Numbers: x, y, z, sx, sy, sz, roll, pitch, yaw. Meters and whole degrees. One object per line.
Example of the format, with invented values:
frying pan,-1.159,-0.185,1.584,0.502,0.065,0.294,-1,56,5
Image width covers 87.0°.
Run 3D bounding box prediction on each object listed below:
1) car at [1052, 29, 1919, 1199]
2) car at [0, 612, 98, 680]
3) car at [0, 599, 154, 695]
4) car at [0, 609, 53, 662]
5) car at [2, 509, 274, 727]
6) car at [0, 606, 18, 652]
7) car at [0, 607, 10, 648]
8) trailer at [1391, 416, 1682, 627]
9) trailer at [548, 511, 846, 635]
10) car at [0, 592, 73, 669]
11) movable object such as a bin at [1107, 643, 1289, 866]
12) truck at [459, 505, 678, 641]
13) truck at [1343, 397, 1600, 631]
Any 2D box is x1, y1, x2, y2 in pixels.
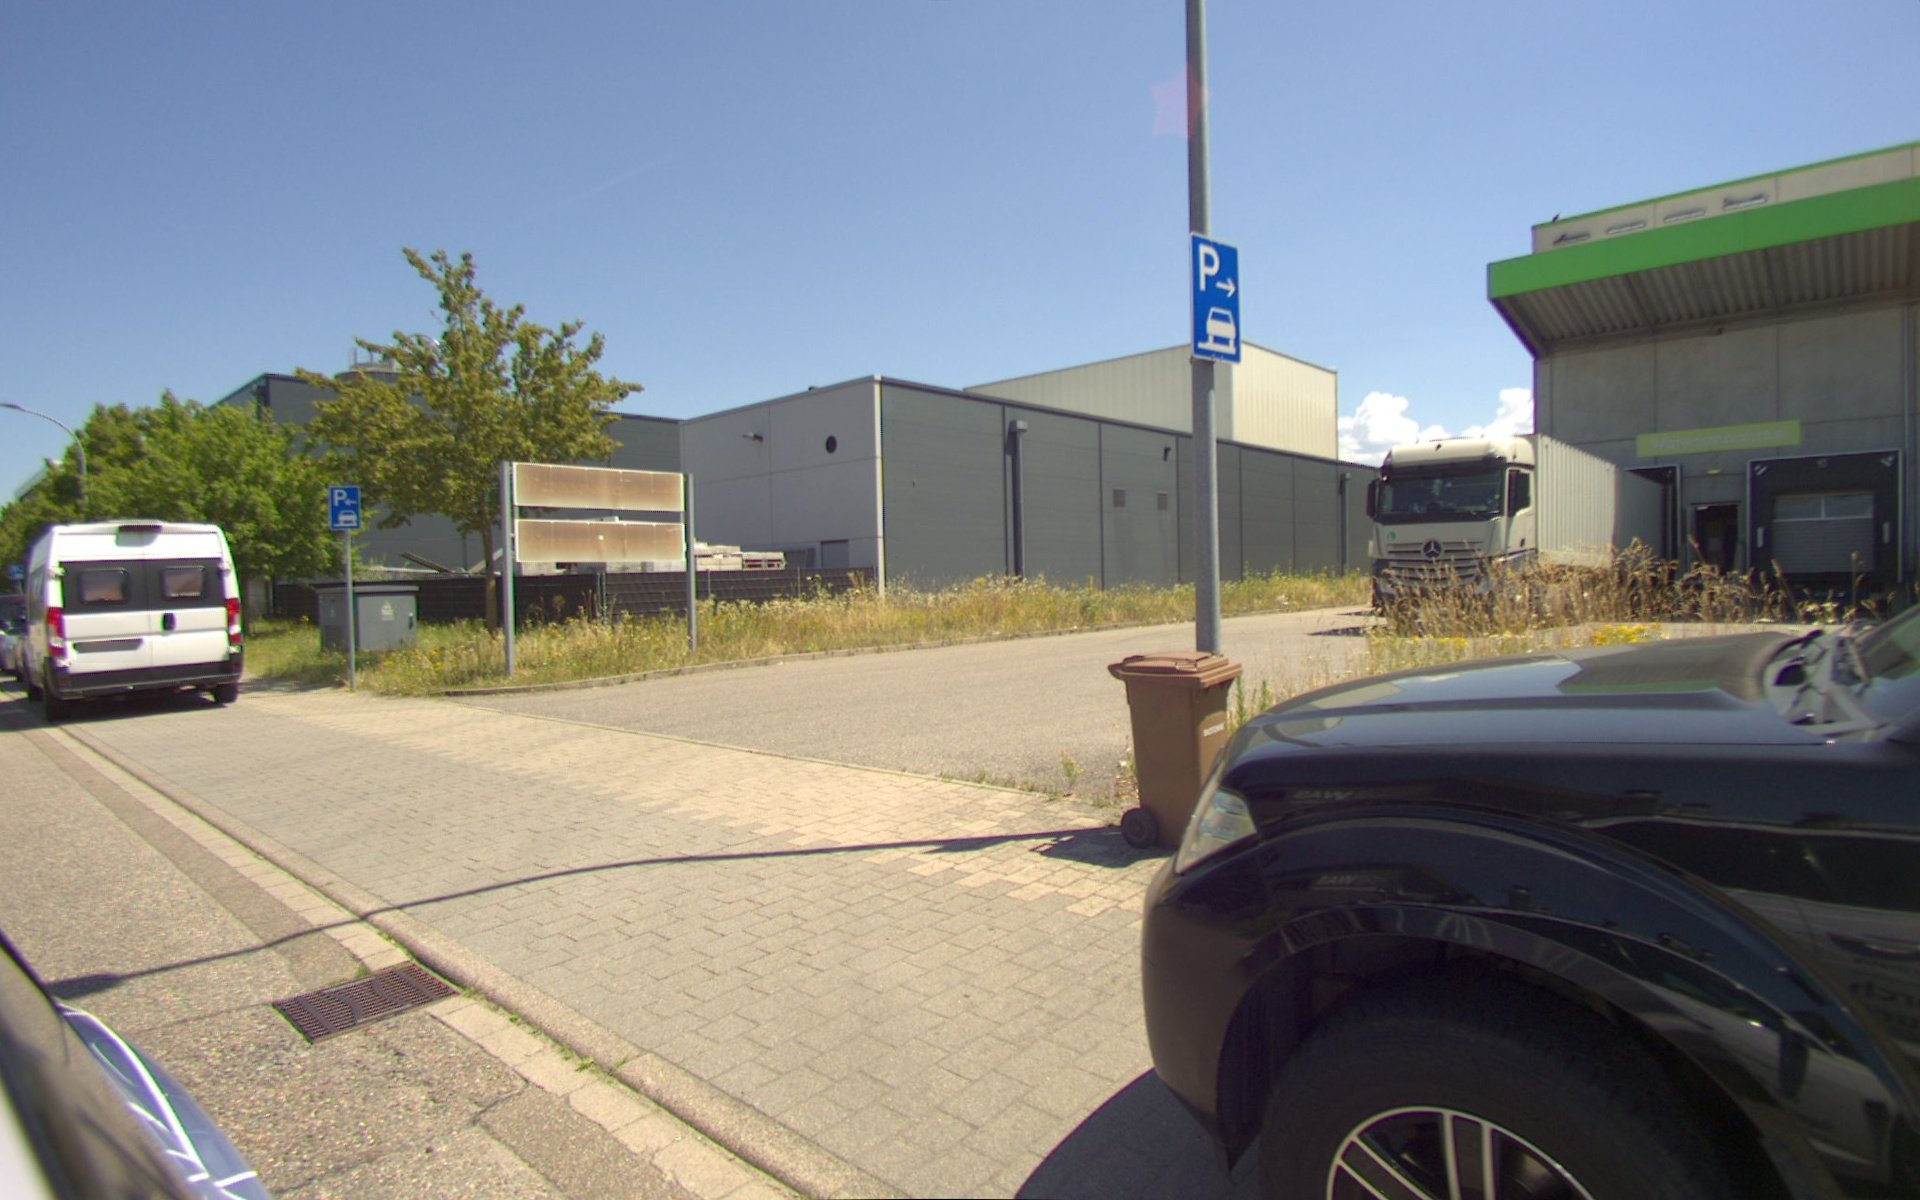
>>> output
car,2.841,0.280,0.780,5.402,1.915,1.953,-1,2,43
car,-21.043,0.996,23.146,4.002,1.321,1.625,-1,3,45
car,-17.250,0.825,19.659,4.626,1.552,1.811,-1,3,44
car,-29.324,1.063,31.030,4.451,1.475,1.775,-1,2,43
car,-12.433,0.185,15.097,6.086,2.618,2.297,-1,2,44
car,-33.928,1.032,34.833,4.451,1.497,1.775,-1,2,42
car,-38.121,1.101,38.996,4.188,1.497,1.775,-1,2,42
trailer,15.663,-1.640,26.381,3.219,4.118,15.154,-1,0,43
trailer,-9.395,-1.000,38.723,3.145,4.000,12.409,-1,1,30
car,-24.731,0.780,26.510,4.083,1.824,1.811,-1,2,44
movable object such as a bin,1.171,0.717,4.988,0.682,0.957,0.542,-1,1,41
truck,-12.642,-0.834,33.163,3.145,4.000,5.991,-1,1,31
truck,10.814,-1.547,21.112,3.219,4.118,6.039,-1,0,43
